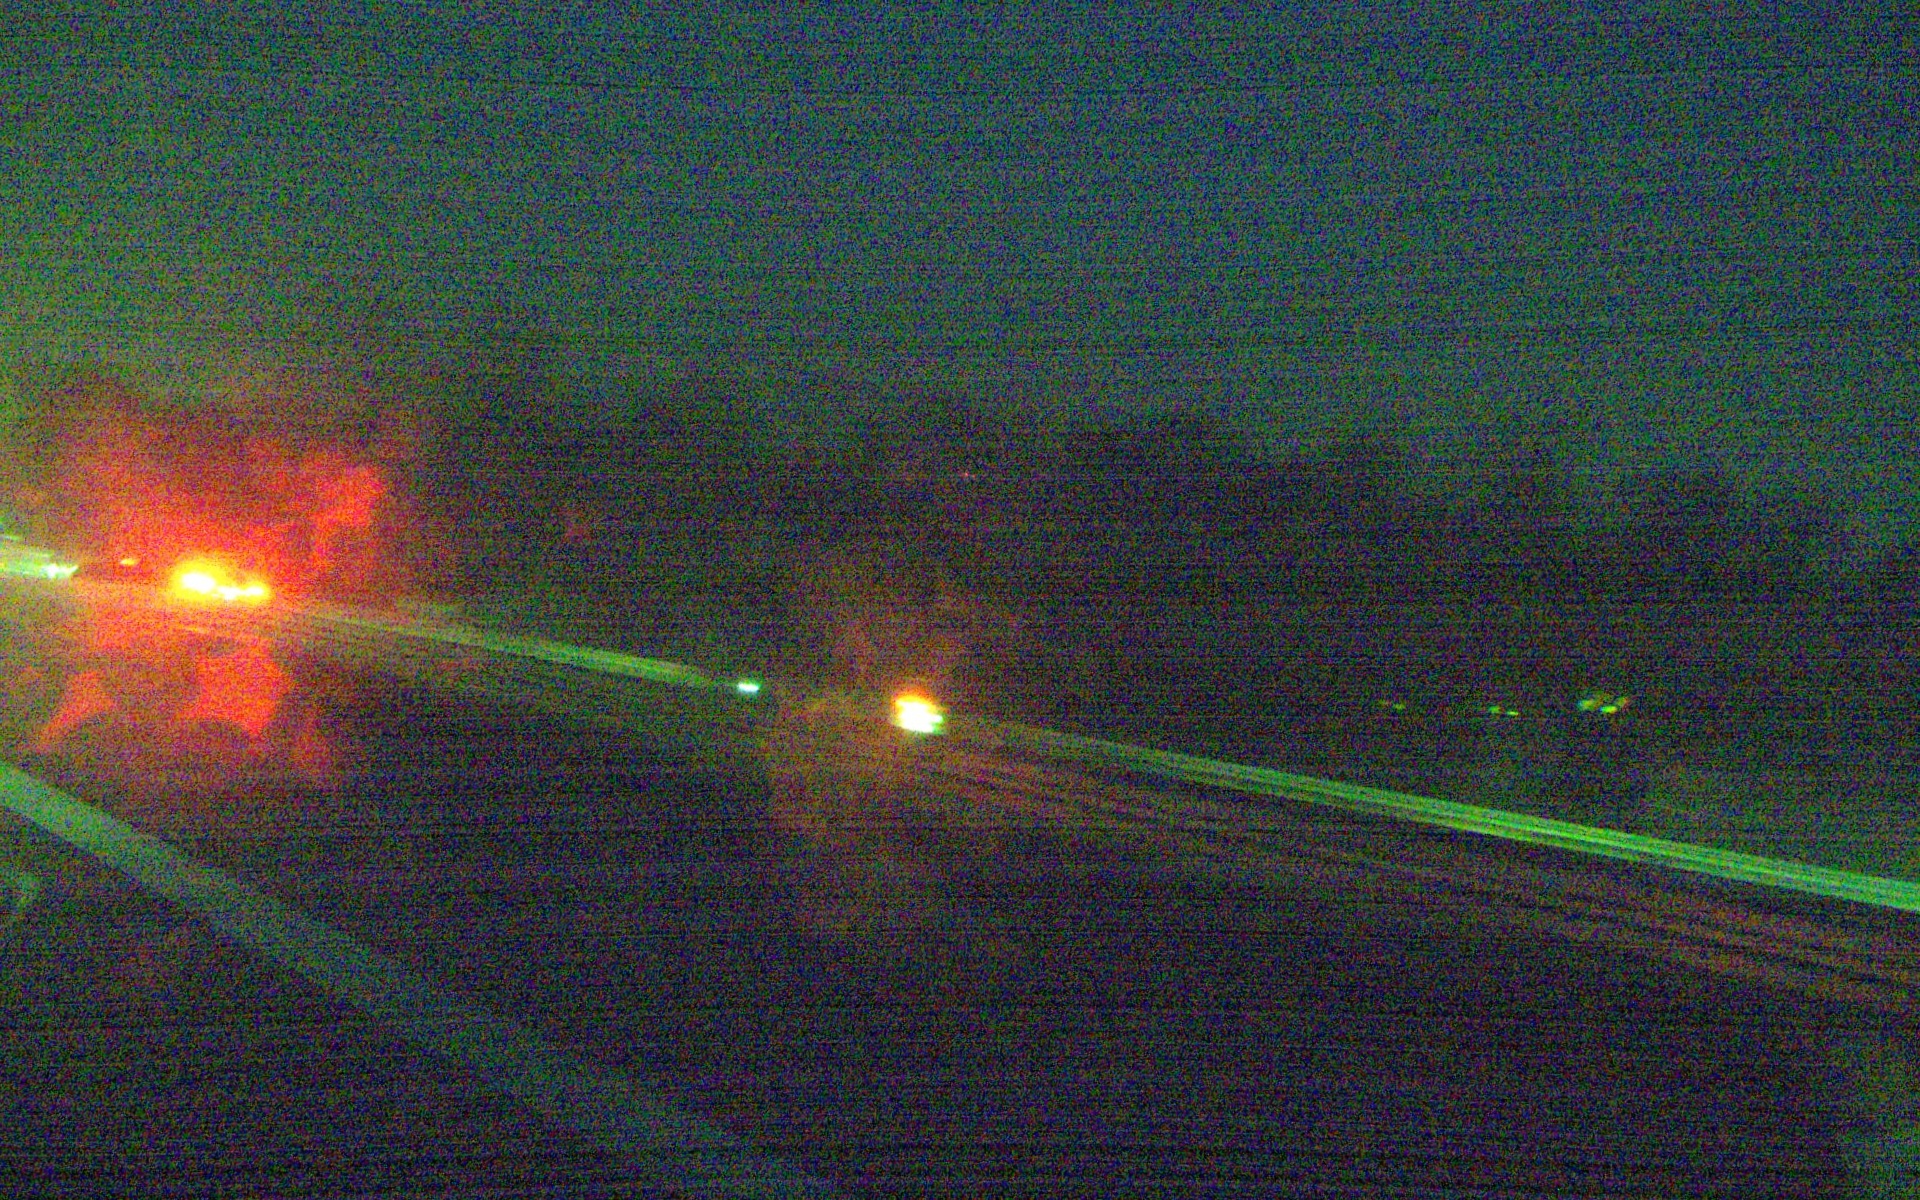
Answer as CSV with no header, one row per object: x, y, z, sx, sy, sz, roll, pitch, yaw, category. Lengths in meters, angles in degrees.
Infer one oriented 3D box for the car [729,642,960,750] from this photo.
-2.372,1.974,20.884,4.247,1.502,1.798,7,-3,19,car

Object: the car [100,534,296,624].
-17.789,-0.497,23.454,4.262,1.464,2.000,7,-3,30,car
